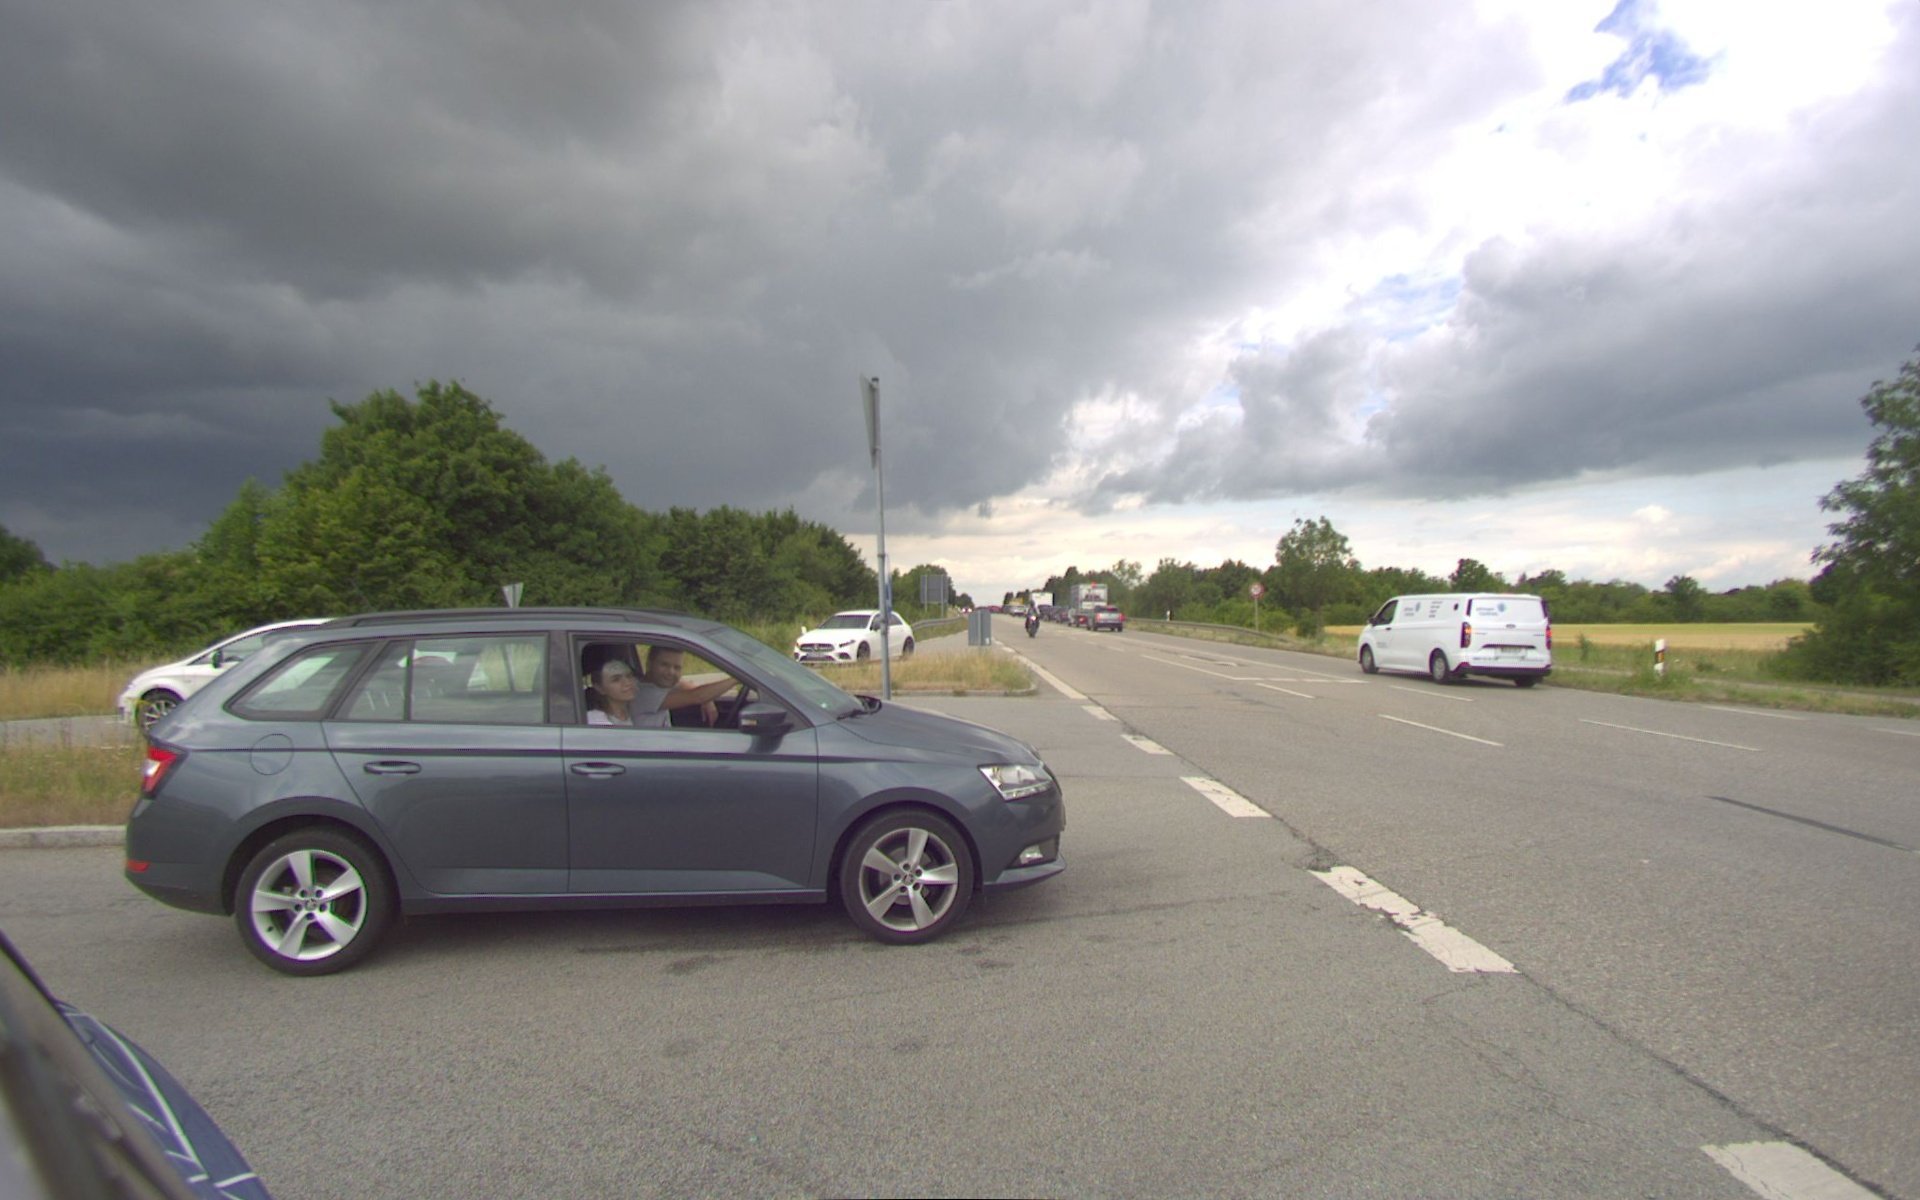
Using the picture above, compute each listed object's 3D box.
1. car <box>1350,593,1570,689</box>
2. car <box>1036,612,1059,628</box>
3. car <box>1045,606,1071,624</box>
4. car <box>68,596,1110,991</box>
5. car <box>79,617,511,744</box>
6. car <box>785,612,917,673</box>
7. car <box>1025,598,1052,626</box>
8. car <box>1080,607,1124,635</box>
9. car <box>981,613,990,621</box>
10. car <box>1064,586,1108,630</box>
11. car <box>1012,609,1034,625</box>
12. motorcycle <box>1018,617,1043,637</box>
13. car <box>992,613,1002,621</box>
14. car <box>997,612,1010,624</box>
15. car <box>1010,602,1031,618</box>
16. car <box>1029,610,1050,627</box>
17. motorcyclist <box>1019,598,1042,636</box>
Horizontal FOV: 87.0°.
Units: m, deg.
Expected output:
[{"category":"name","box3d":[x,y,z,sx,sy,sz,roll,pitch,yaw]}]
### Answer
[{"category":"car","box3d":[10.874,0.861,22.607,2.082,1.900,5.392,0,-1,-1]},{"category":"car","box3d":[8.390,1.940,97.460,1.822,1.537,4.000,-1,-1,-1]},{"category":"car","box3d":[8.677,1.340,89.778,1.822,1.537,4.000,-1,-1,-1]},{"category":"car","box3d":[-1.489,0.736,4.949,4.052,1.458,1.721,-1,0,-7]},{"category":"car","box3d":[-8.120,0.948,12.614,4.256,1.419,1.818,0,-2,4]},{"category":"car","box3d":[-2.749,1.068,26.538,1.758,1.462,4.364,-1,-1,19]},{"category":"car","box3d":[8.900,1.407,115.802,2.307,3.052,6.559,-1,-1,-2]},{"category":"car","box3d":[8.906,1.333,63.892,1.971,1.636,4.263,2,-2,-2]},{"category":"car","box3d":[5.682,3.808,224.623,1.772,1.564,4.001,-1,-1,-1]},{"category":"car","box3d":[9.348,0.638,75.742,2.308,3.052,6.558,2,-2,-1]},{"category":"car","box3d":[7.786,2.183,126.277,2.308,1.936,4.876,-1,-1,-1]},{"category":"motorcycle","box3d":[3.288,1.234,47.261,0.931,0.896,2.146,-1,-1,-1]},{"category":"car","box3d":[7.176,3.314,195.686,1.772,1.564,4.001,-1,-1,-1]},{"category":"car","box3d":[6.865,2.808,159.234,1.832,1.763,4.000,0,-1,-1]},{"category":"car","box3d":[7.888,1.363,132.039,2.307,1.936,4.877,-1,-1,-2]},{"category":"car","box3d":[8.321,1.945,106.291,1.831,1.763,4.001,0,-1,-1]},{"category":"motorcyclist","box3d":[3.281,0.787,47.313,0.931,1.763,1.201,-1,-1,-1]}]
